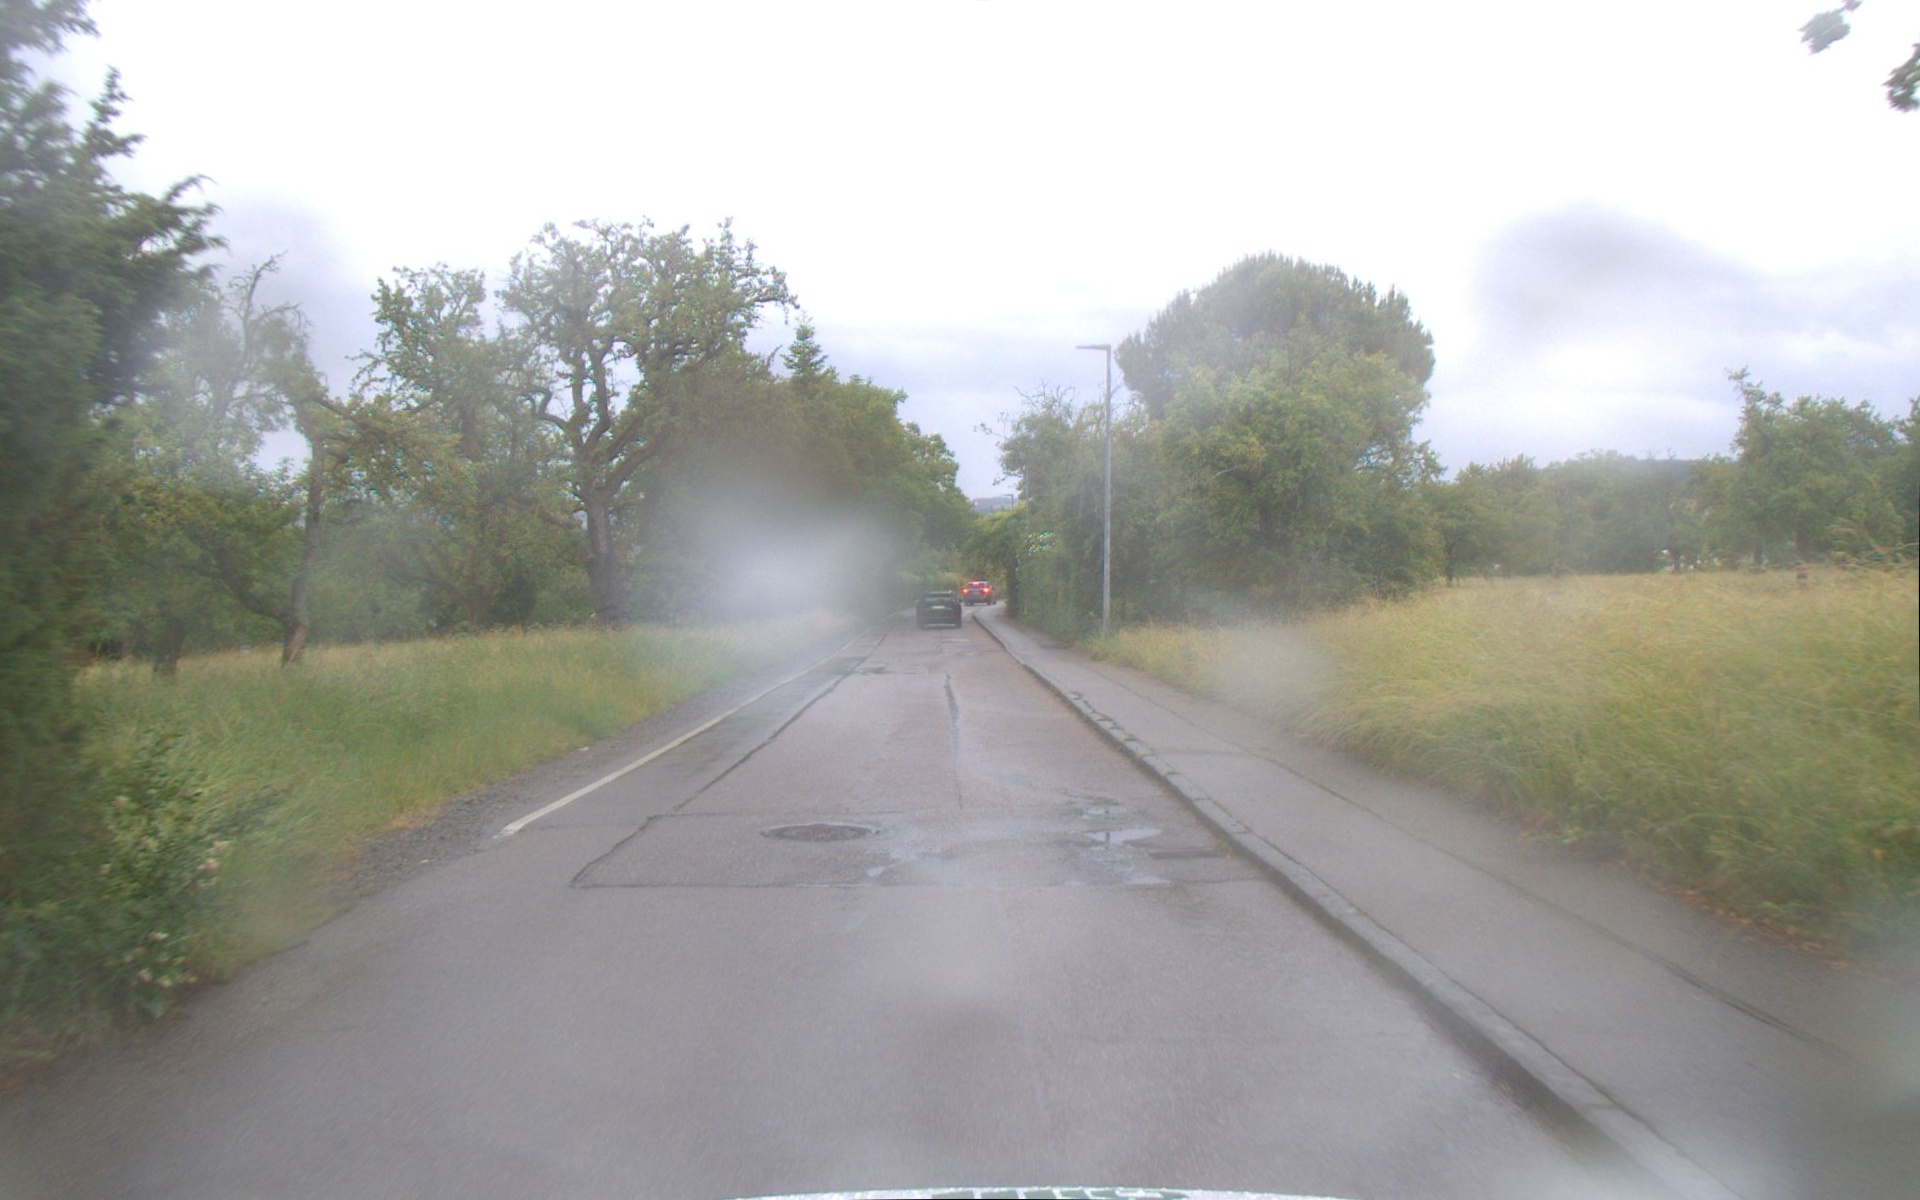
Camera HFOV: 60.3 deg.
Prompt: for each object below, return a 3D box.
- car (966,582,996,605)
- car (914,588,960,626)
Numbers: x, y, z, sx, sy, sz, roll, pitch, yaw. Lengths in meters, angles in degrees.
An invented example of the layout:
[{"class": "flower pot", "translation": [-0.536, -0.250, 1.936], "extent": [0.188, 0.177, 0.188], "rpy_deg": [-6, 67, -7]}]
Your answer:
[{"class": "car", "translation": [1.387, -0.414, 108.496], "extent": [1.600, 1.439, 3.547], "rpy_deg": [0, -1, 6]}, {"class": "car", "translation": [-0.868, 0.291, 65.061], "extent": [1.600, 1.475, 3.545], "rpy_deg": [0, -1, 2]}]
